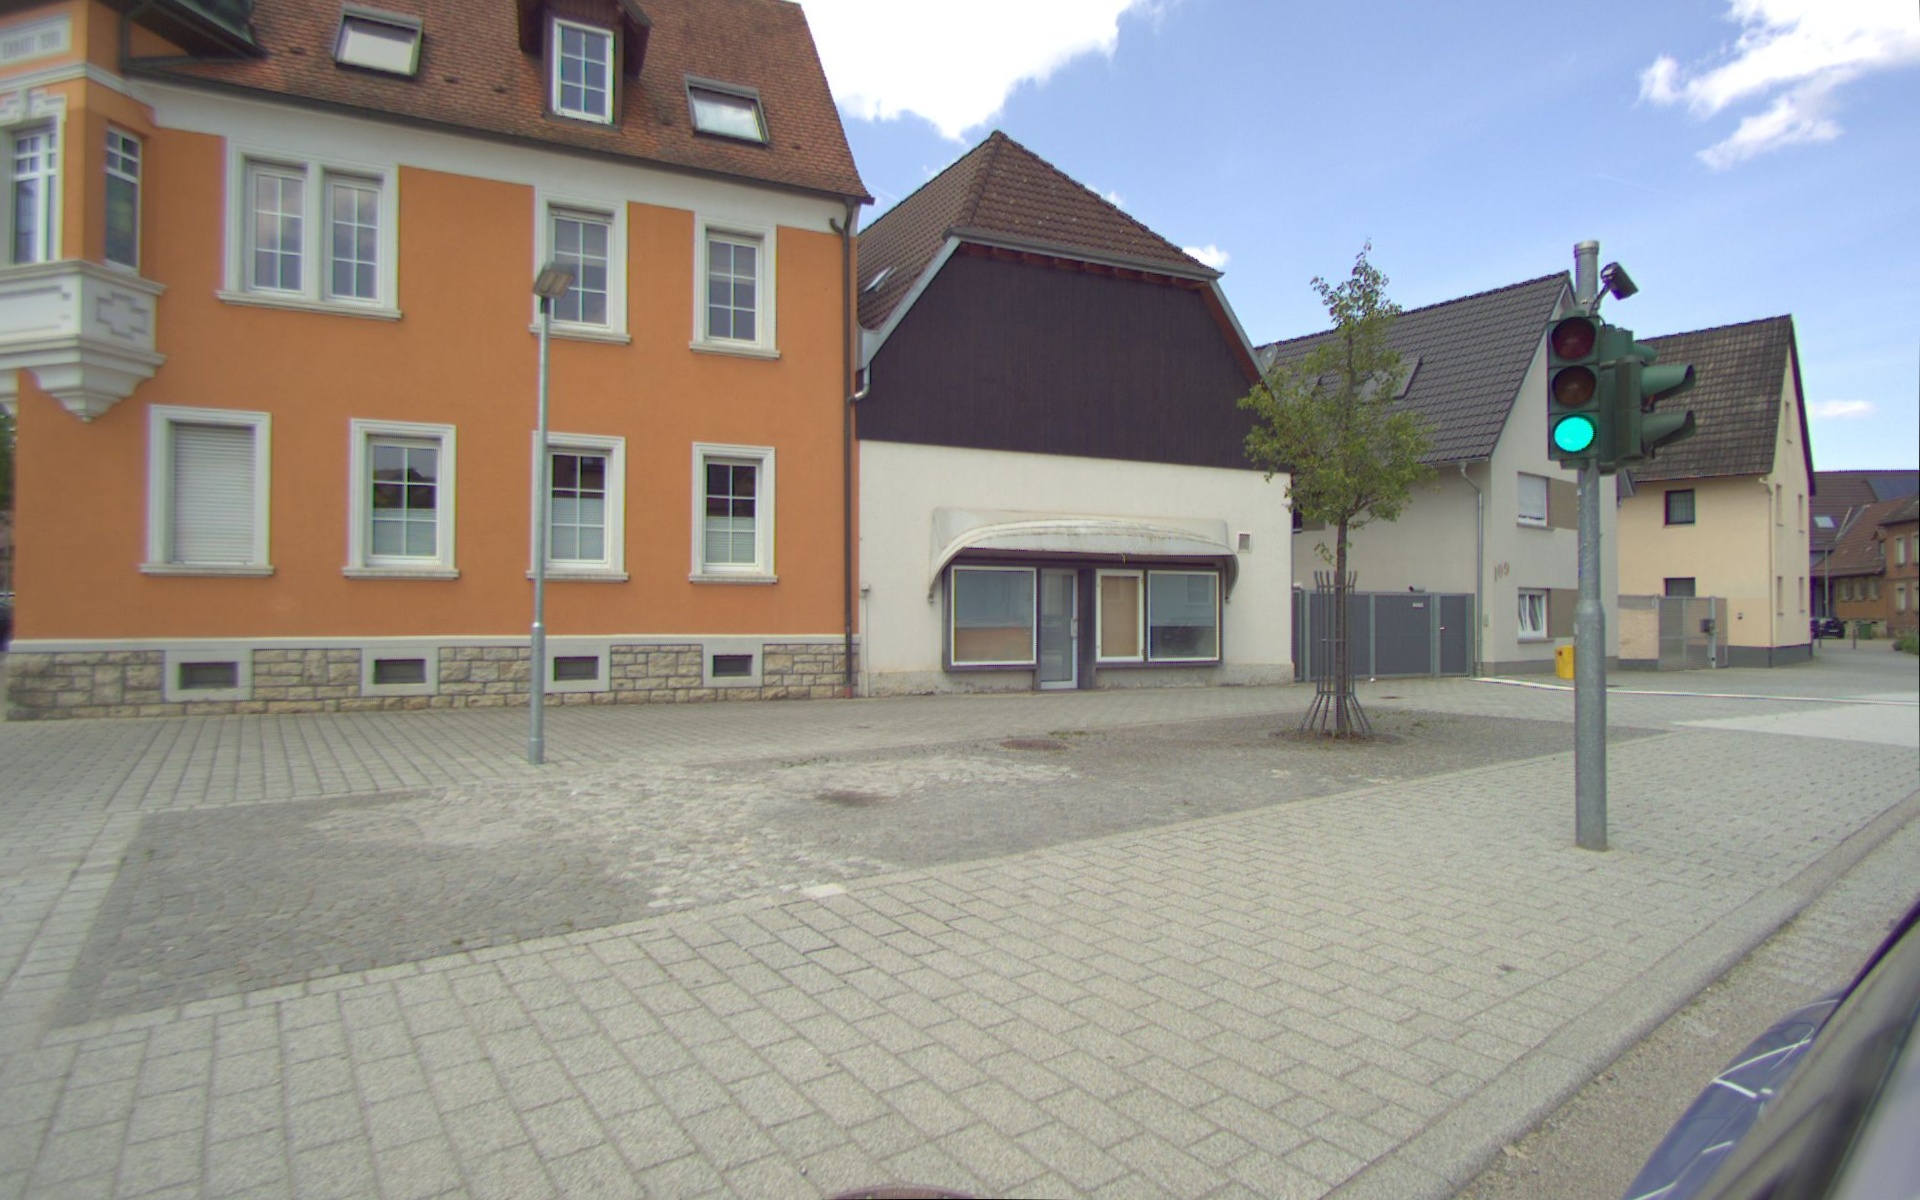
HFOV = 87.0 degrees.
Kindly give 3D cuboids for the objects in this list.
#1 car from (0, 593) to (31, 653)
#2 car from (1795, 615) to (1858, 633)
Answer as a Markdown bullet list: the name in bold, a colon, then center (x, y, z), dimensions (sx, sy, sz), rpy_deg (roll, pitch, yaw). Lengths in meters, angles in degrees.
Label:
- **car**: center (-27.685, 0.595, 26.014), dimensions (5.392, 1.593, 1.999), rpy_deg (1, -1, -36)
- **car**: center (56.976, 1.563, 66.648), dimensions (1.780, 1.073, 3.975), rpy_deg (0, 0, 19)
